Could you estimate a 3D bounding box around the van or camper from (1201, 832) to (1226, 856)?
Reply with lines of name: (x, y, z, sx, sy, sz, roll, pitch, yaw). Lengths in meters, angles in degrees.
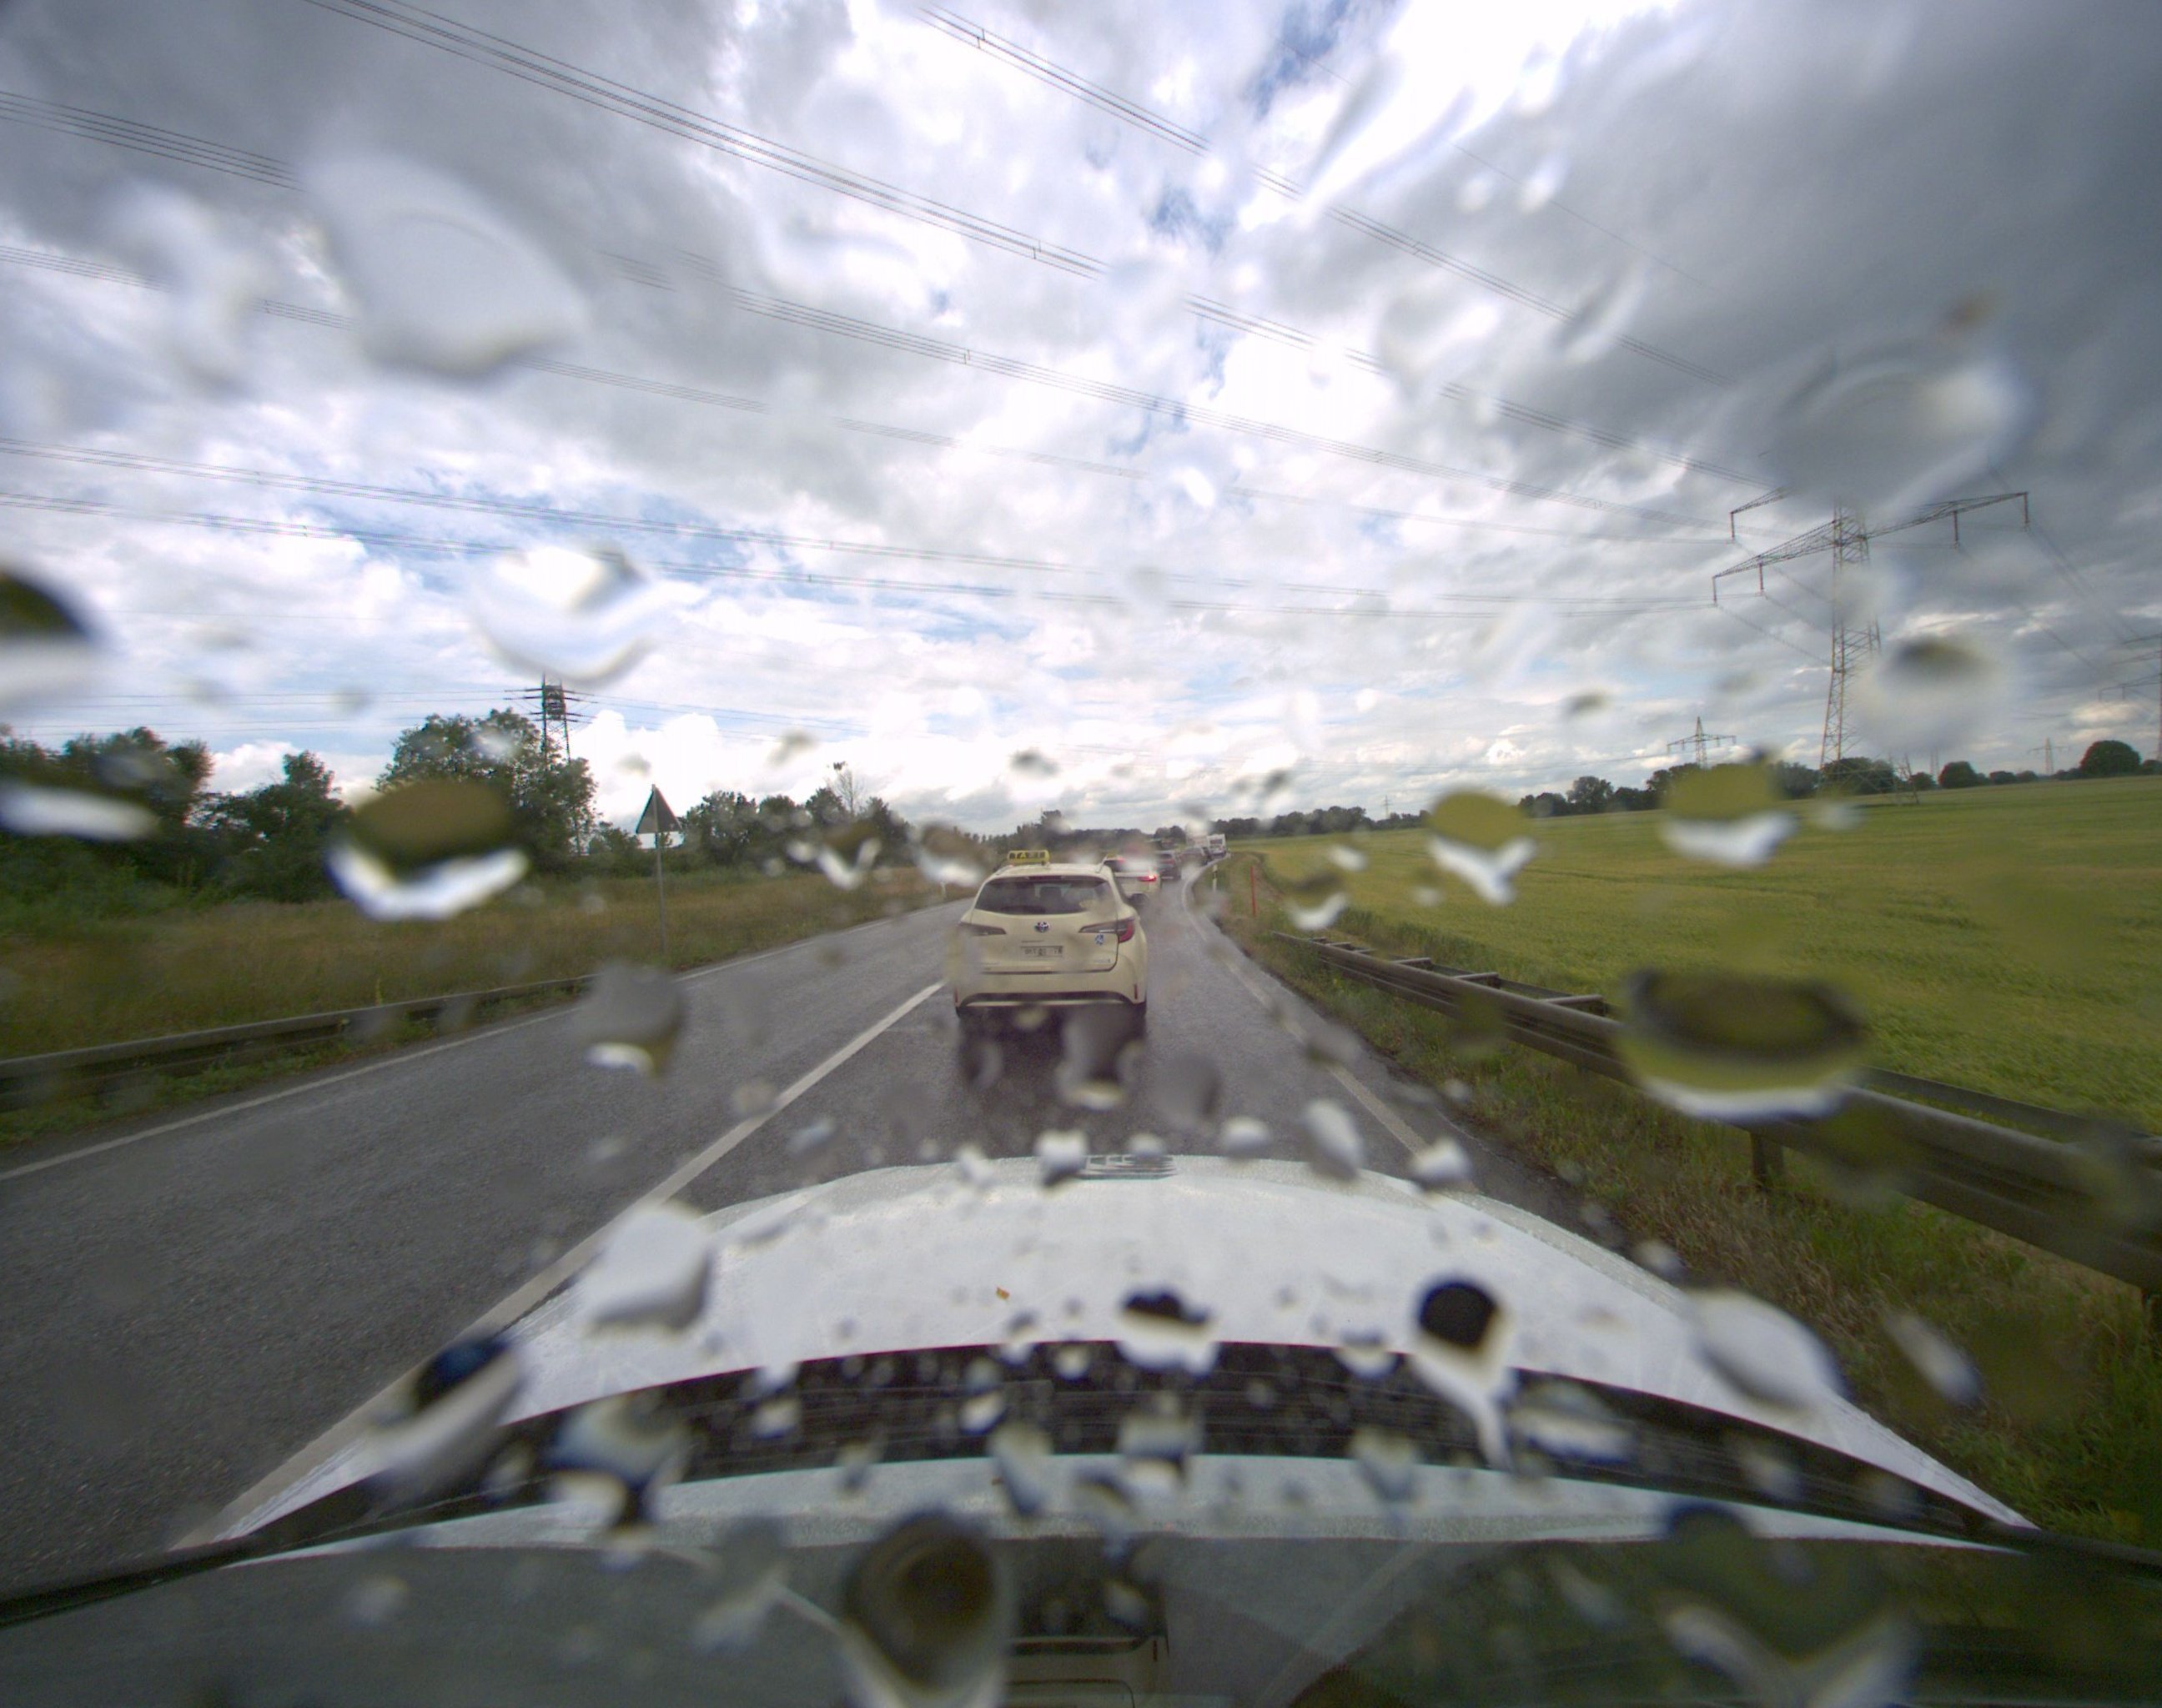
van or camper: (16.978, -1.256, 104.504, 2.525, 2.896, 6.751, -1, 0, 4)

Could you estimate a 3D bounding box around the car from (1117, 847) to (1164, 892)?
car: (2.441, 0.616, 32.694, 1.604, 1.659, 3.746, -1, -1, 7)

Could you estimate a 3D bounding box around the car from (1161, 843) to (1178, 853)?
car: (16.441, -1.128, 150.988, 1.884, 1.773, 4.142, -1, -1, -12)

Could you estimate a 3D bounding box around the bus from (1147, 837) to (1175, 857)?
bus: (13.899, -1.253, 141.921, 2.753, 3.297, 12.484, -1, 0, -4)

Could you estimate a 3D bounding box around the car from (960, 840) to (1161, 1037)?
car: (-0.191, 0.706, 8.476, 1.608, 1.562, 3.736, -1, -1, -1)

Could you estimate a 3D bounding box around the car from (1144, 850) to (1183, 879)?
car: (4.313, 0.538, 42.356, 1.602, 1.413, 3.750, -1, -1, 12)

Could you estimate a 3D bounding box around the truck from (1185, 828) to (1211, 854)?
truck: (18.865, -2.044, 132.141, 3.116, 3.852, 7.385, -1, -1, 0)

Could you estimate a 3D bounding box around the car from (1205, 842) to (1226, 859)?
car: (14.713, -0.386, 89.209, 1.946, 1.729, 3.752, -1, -1, 14)

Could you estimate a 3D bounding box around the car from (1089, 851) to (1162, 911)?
car: (1.357, 0.687, 23.107, 1.832, 1.492, 4.616, -1, 0, 6)

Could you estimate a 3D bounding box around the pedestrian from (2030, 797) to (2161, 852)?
pedestrian: (41.381, -1.112, 32.638, 1.988, 2.014, 3.996, -1, -1, -2)

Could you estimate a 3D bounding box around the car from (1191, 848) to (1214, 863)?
car: (11.756, 0.133, 78.597, 1.812, 1.413, 3.752, -1, -1, 14)

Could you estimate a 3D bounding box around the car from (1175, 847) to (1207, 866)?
car: (8.798, 0.240, 64.687, 1.945, 1.413, 4.409, -1, -1, 15)
